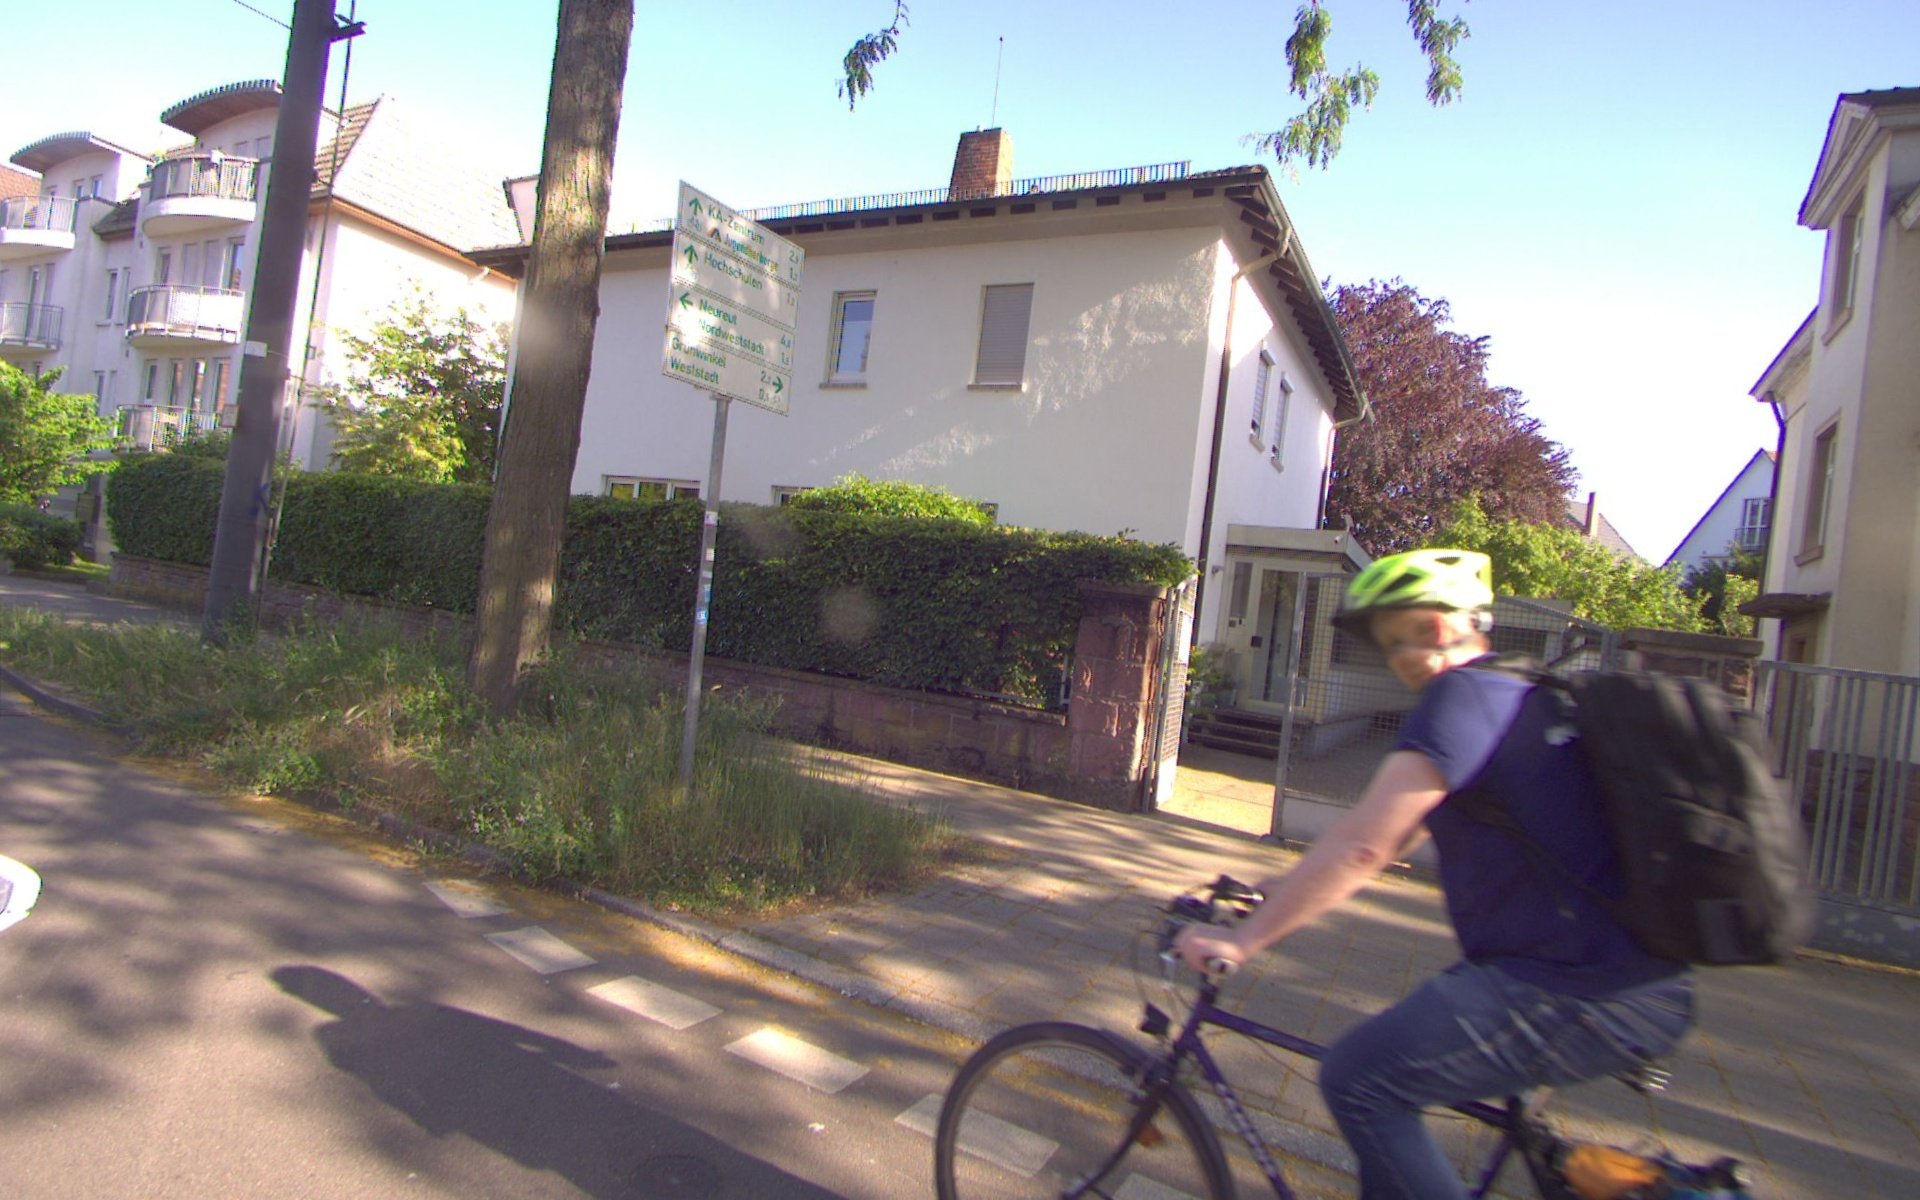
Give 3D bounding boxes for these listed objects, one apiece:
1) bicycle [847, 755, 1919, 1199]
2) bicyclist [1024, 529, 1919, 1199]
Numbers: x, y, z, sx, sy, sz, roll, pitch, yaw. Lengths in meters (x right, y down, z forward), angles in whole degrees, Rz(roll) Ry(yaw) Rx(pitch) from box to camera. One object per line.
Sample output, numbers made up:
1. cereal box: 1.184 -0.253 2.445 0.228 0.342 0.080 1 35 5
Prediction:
1. bicycle: 0.762 1.035 1.789 1.870 1.157 0.643 7 0 32
2. bicyclist: 0.798 0.700 1.797 1.096 1.505 0.645 6 -1 32
